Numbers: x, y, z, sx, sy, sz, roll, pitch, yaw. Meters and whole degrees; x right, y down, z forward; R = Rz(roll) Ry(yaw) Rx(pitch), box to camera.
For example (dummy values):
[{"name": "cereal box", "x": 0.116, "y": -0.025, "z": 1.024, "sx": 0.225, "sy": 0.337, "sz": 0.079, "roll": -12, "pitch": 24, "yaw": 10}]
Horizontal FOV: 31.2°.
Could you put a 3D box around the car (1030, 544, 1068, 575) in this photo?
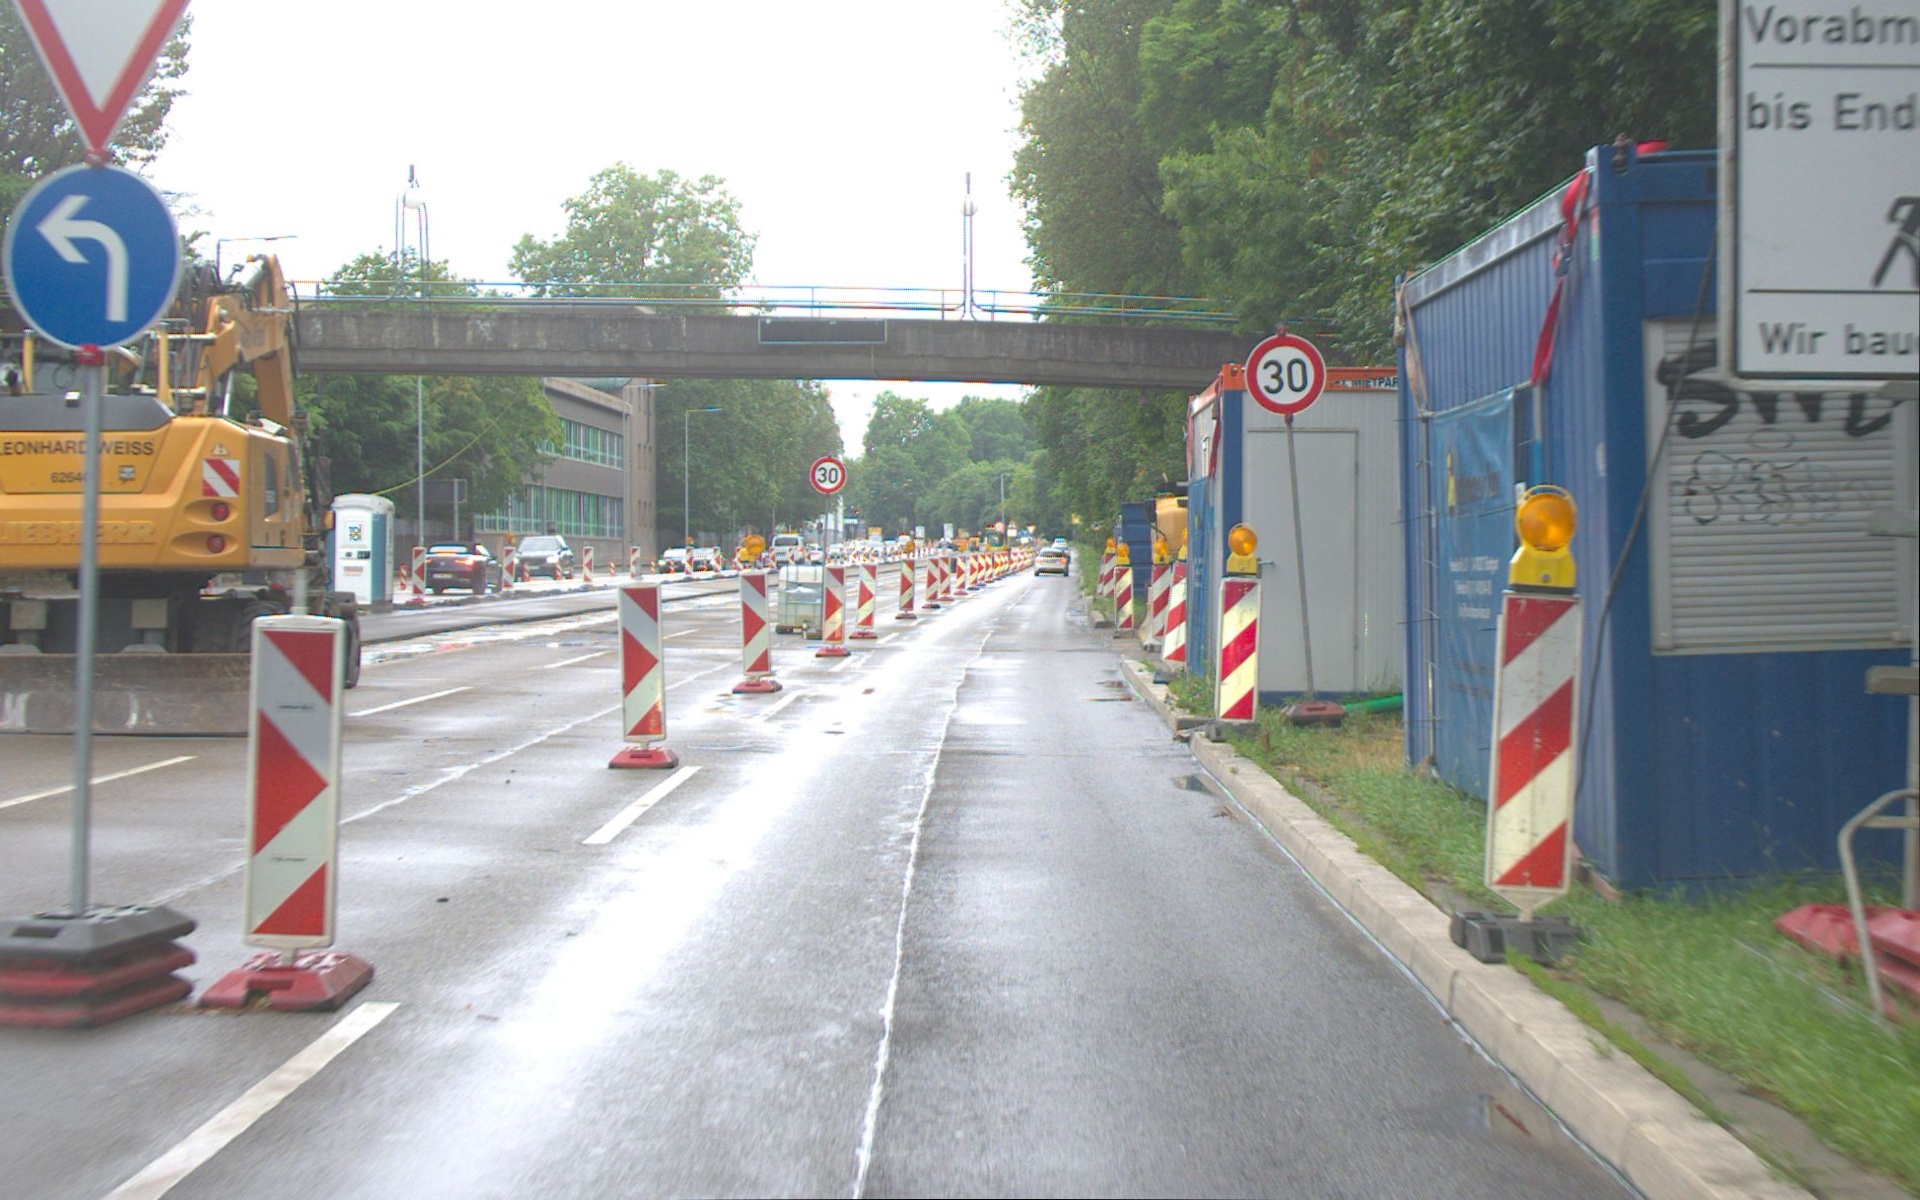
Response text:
[{"name": "car", "x": 4.781, "y": -2.165, "z": 184.213, "sx": 1.993, "sy": 1.634, "sz": 4.000, "roll": 0, "pitch": 1, "yaw": 1}]

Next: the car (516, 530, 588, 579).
[{"name": "car", "x": -15.403, "y": -1.721, "z": 130.039, "sx": 1.971, "sy": 1.800, "sz": 4.607, "roll": 0, "pitch": 1, "yaw": 3}]

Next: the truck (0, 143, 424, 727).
[{"name": "truck", "x": -6.801, "y": -1.318, "z": 30.652, "sx": 2.897, "sy": 4.244, "sz": 10.757, "roll": 1, "pitch": 1, "yaw": -3}]
